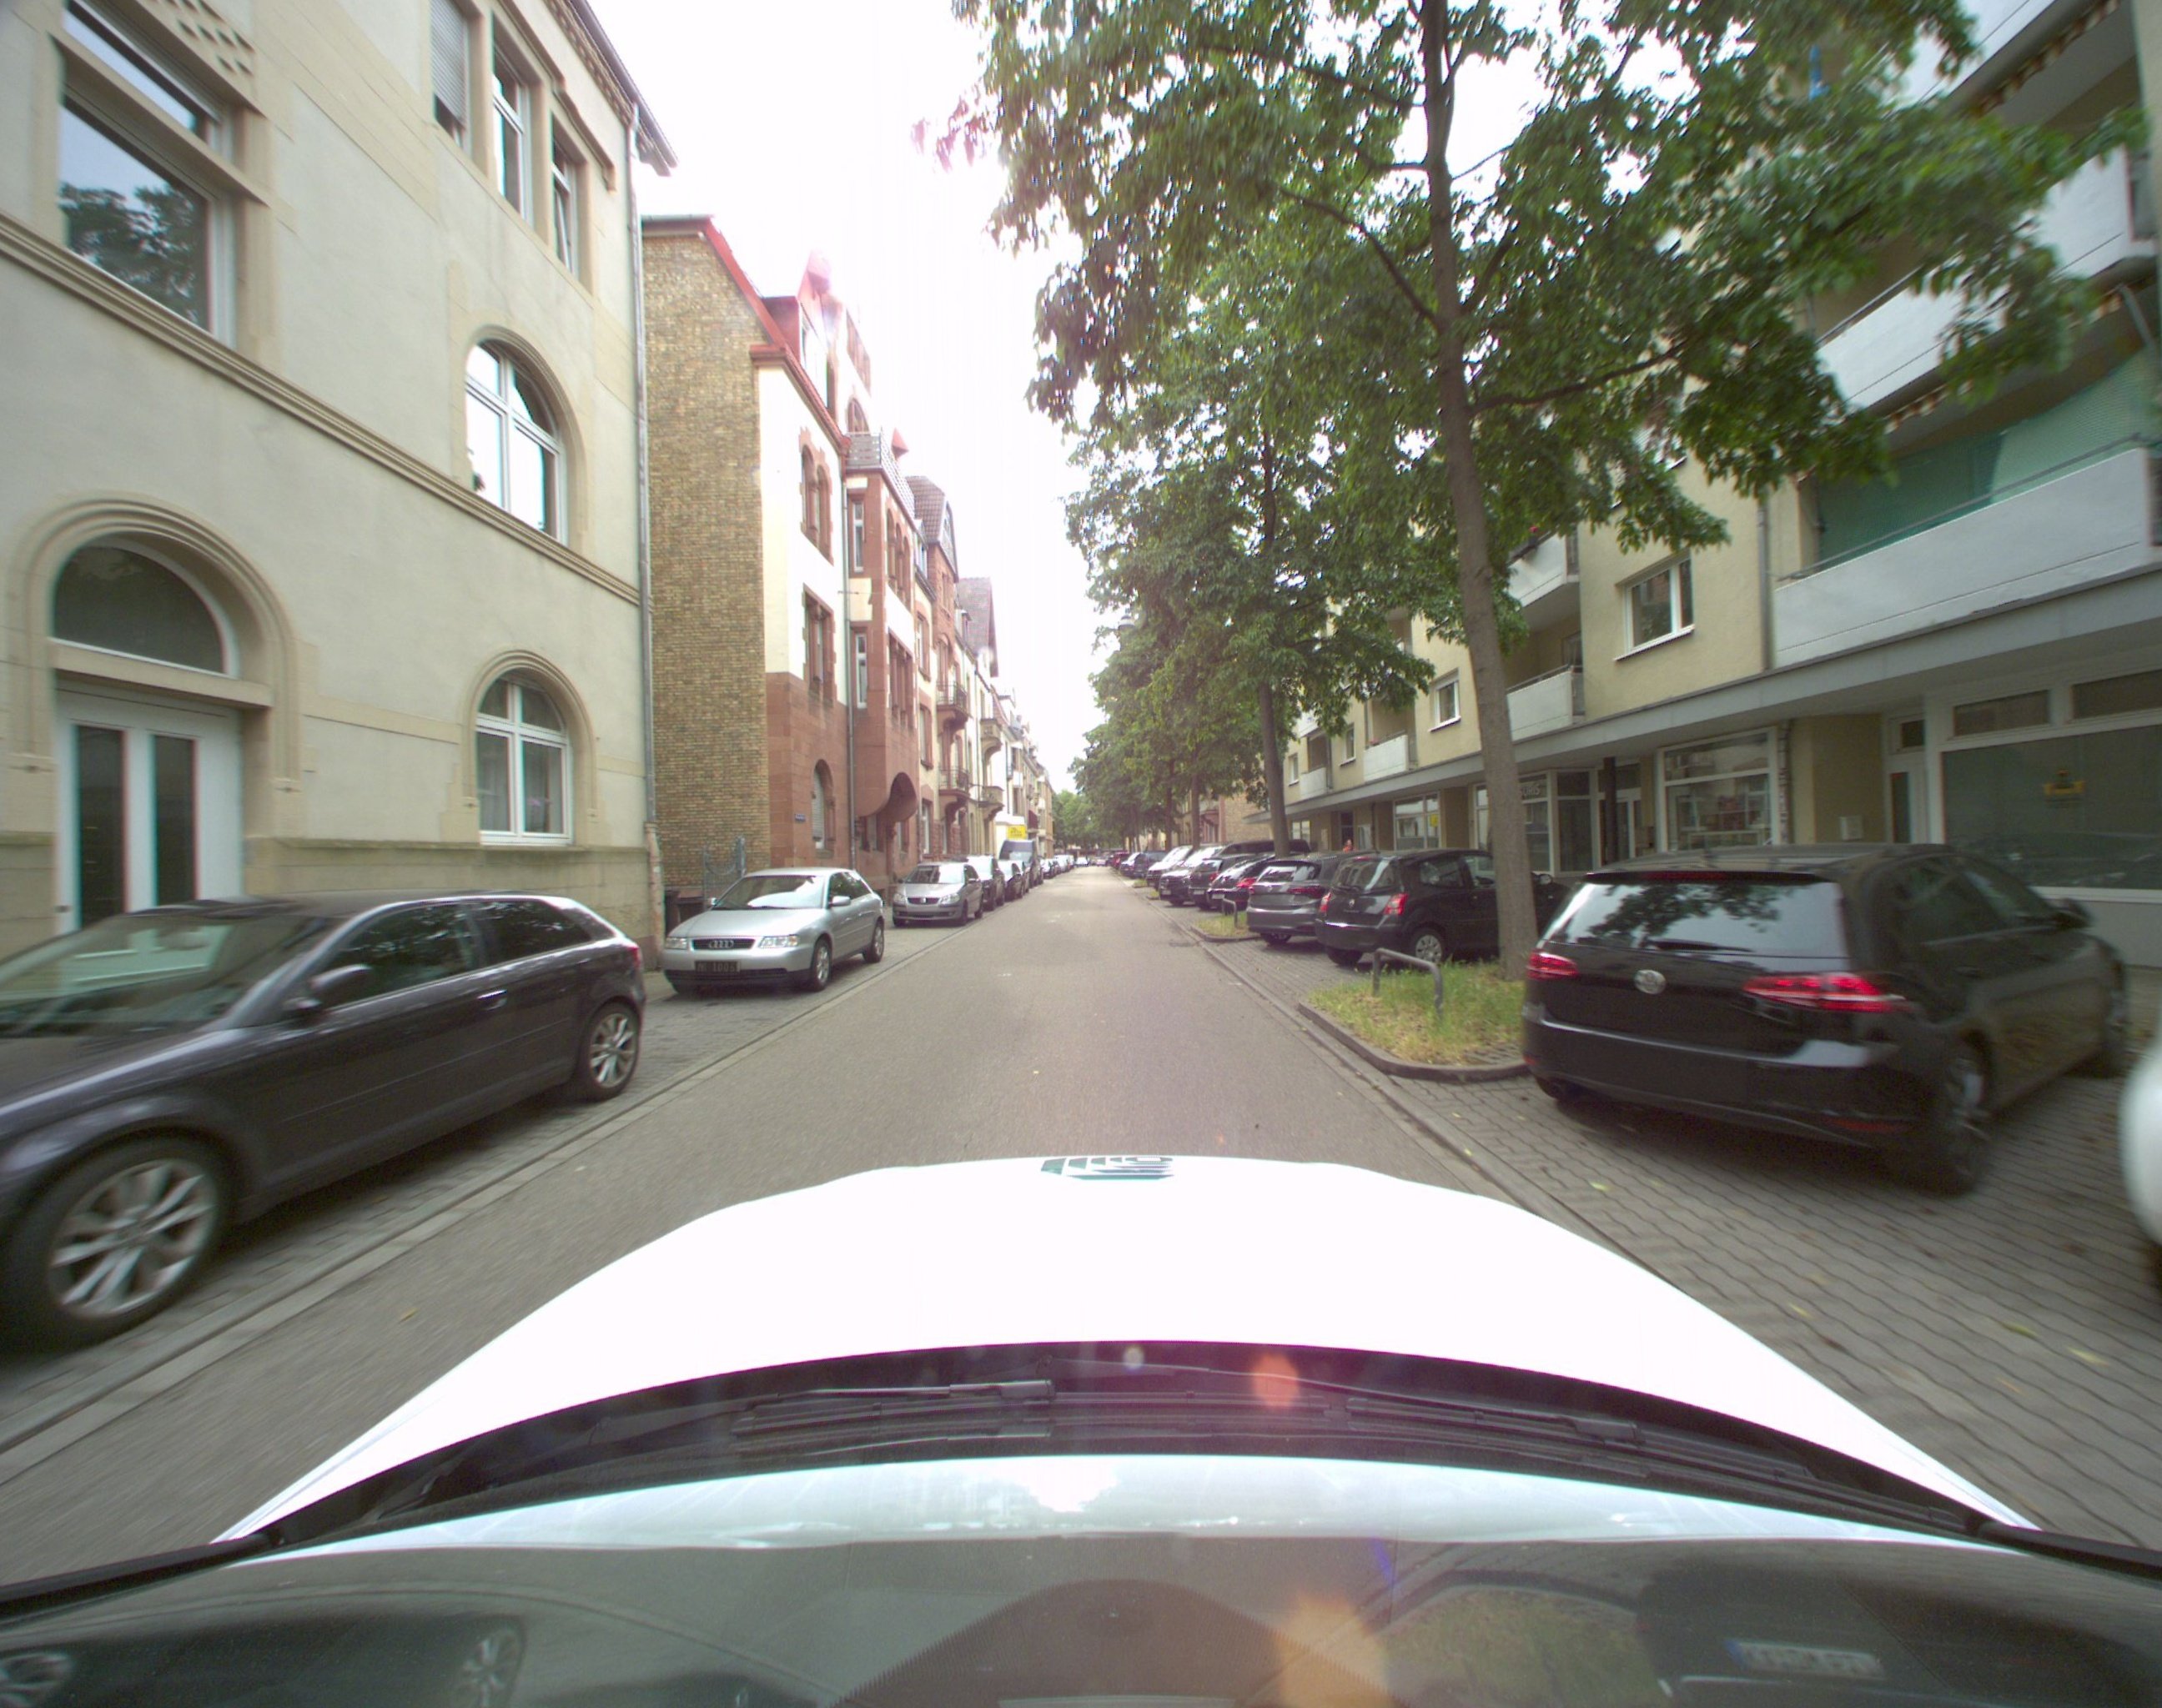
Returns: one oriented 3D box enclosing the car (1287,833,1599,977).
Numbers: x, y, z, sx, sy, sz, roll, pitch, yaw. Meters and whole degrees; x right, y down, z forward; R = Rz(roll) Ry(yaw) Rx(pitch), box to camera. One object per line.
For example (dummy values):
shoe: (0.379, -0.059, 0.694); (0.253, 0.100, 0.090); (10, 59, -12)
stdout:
car: (4.697, 0.588, 10.666); (3.373, 1.496, 1.838); (-3, -1, -22)

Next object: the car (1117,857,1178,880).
car: (4.781, 1.039, 58.564); (4.036, 1.559, 1.866); (-1, -1, -30)

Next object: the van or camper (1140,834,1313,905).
van or camper: (4.603, 0.457, 25.569); (5.034, 1.869, 2.108); (-3, -1, -27)

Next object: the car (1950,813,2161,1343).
car: (4.946, 0.544, 2.679); (3.923, 1.465, 1.809); (-2, -1, -27)

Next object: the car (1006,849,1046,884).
car: (-3.319, 0.730, 50.238); (1.986, 2.013, 4.892); (-2, 0, 1)

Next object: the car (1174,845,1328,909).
car: (4.741, 0.616, 22.682); (3.872, 1.502, 1.895); (-3, -1, -29)

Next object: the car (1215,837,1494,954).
car: (4.577, 0.616, 13.591); (4.237, 1.500, 1.958); (-3, -1, -27)

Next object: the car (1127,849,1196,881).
car: (5.521, 0.766, 55.734); (4.197, 1.869, 1.981); (-3, -1, -29)

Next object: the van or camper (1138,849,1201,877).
van or camper: (7.134, 0.702, 65.760); (4.805, 2.138, 2.036); (-1, 0, -30)

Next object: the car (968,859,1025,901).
car: (-3.100, 0.918, 30.612); (1.629, 1.473, 4.001); (0, 0, 1)

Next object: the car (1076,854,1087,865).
car: (0.111, 0.933, 136.723); (1.815, 1.645, 3.753); (0, -1, 0)

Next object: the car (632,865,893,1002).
car: (-3.821, 0.863, 10.614); (1.720, 1.386, 4.137); (0, 0, 1)

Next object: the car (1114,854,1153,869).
car: (5.297, 0.765, 82.557); (3.754, 1.465, 1.726); (-2, 0, -5)

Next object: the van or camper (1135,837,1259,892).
van or camper: (4.873, 0.439, 34.180); (4.753, 1.994, 1.983); (-3, -2, -25)

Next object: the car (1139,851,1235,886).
car: (5.201, 0.714, 39.860); (4.329, 1.392, 1.904); (-4, 0, -31)

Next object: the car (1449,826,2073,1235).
car: (4.247, 0.622, 4.889); (4.131, 1.442, 1.833); (-2, -1, -35)

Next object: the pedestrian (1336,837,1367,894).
pedestrian: (8.513, 0.374, 25.684); (0.622, 1.742, 0.849); (-3, -1, 1)

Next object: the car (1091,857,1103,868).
car: (2.712, 1.482, 135.804); (1.986, 1.794, 4.001); (0, -1, 1)

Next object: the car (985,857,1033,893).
car: (-3.061, 0.917, 35.400); (1.662, 1.473, 4.000); (0, -1, 1)

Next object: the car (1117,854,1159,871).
car: (5.471, 0.829, 77.934); (3.754, 1.465, 1.726); (-2, 0, -5)

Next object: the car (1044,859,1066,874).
car: (-2.680, 1.302, 84.914); (1.986, 1.475, 4.001); (-2, 0, 1)

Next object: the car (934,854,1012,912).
car: (-3.271, 0.824, 25.420); (1.780, 1.647, 4.362); (0, 0, 1)

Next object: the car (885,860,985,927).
car: (-3.411, 0.877, 19.741); (1.657, 1.421, 3.929); (0, 0, 1)

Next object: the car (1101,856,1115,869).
car: (4.232, 1.365, 129.026); (1.987, 2.014, 4.000); (1, 0, 0)

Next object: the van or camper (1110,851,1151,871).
van or camper: (5.618, 0.783, 91.981); (4.170, 2.086, 1.935); (-2, -1, -27)

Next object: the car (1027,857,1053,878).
car: (-3.079, 1.004, 62.061); (1.783, 1.480, 4.022); (-1, -1, 0)

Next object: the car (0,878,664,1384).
car: (-3.942, 0.851, 3.961); (1.720, 1.386, 3.929); (0, -1, 1)

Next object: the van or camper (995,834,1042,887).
van or camper: (-3.357, 0.336, 44.545); (2.001, 2.651, 5.316); (-2, 0, 1)

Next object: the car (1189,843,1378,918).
car: (4.854, 0.600, 19.552); (4.060, 1.483, 1.931); (-3, -1, -25)

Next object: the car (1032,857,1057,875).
car: (-3.007, 0.990, 67.300); (1.823, 1.426, 3.801); (1, 0, 0)
